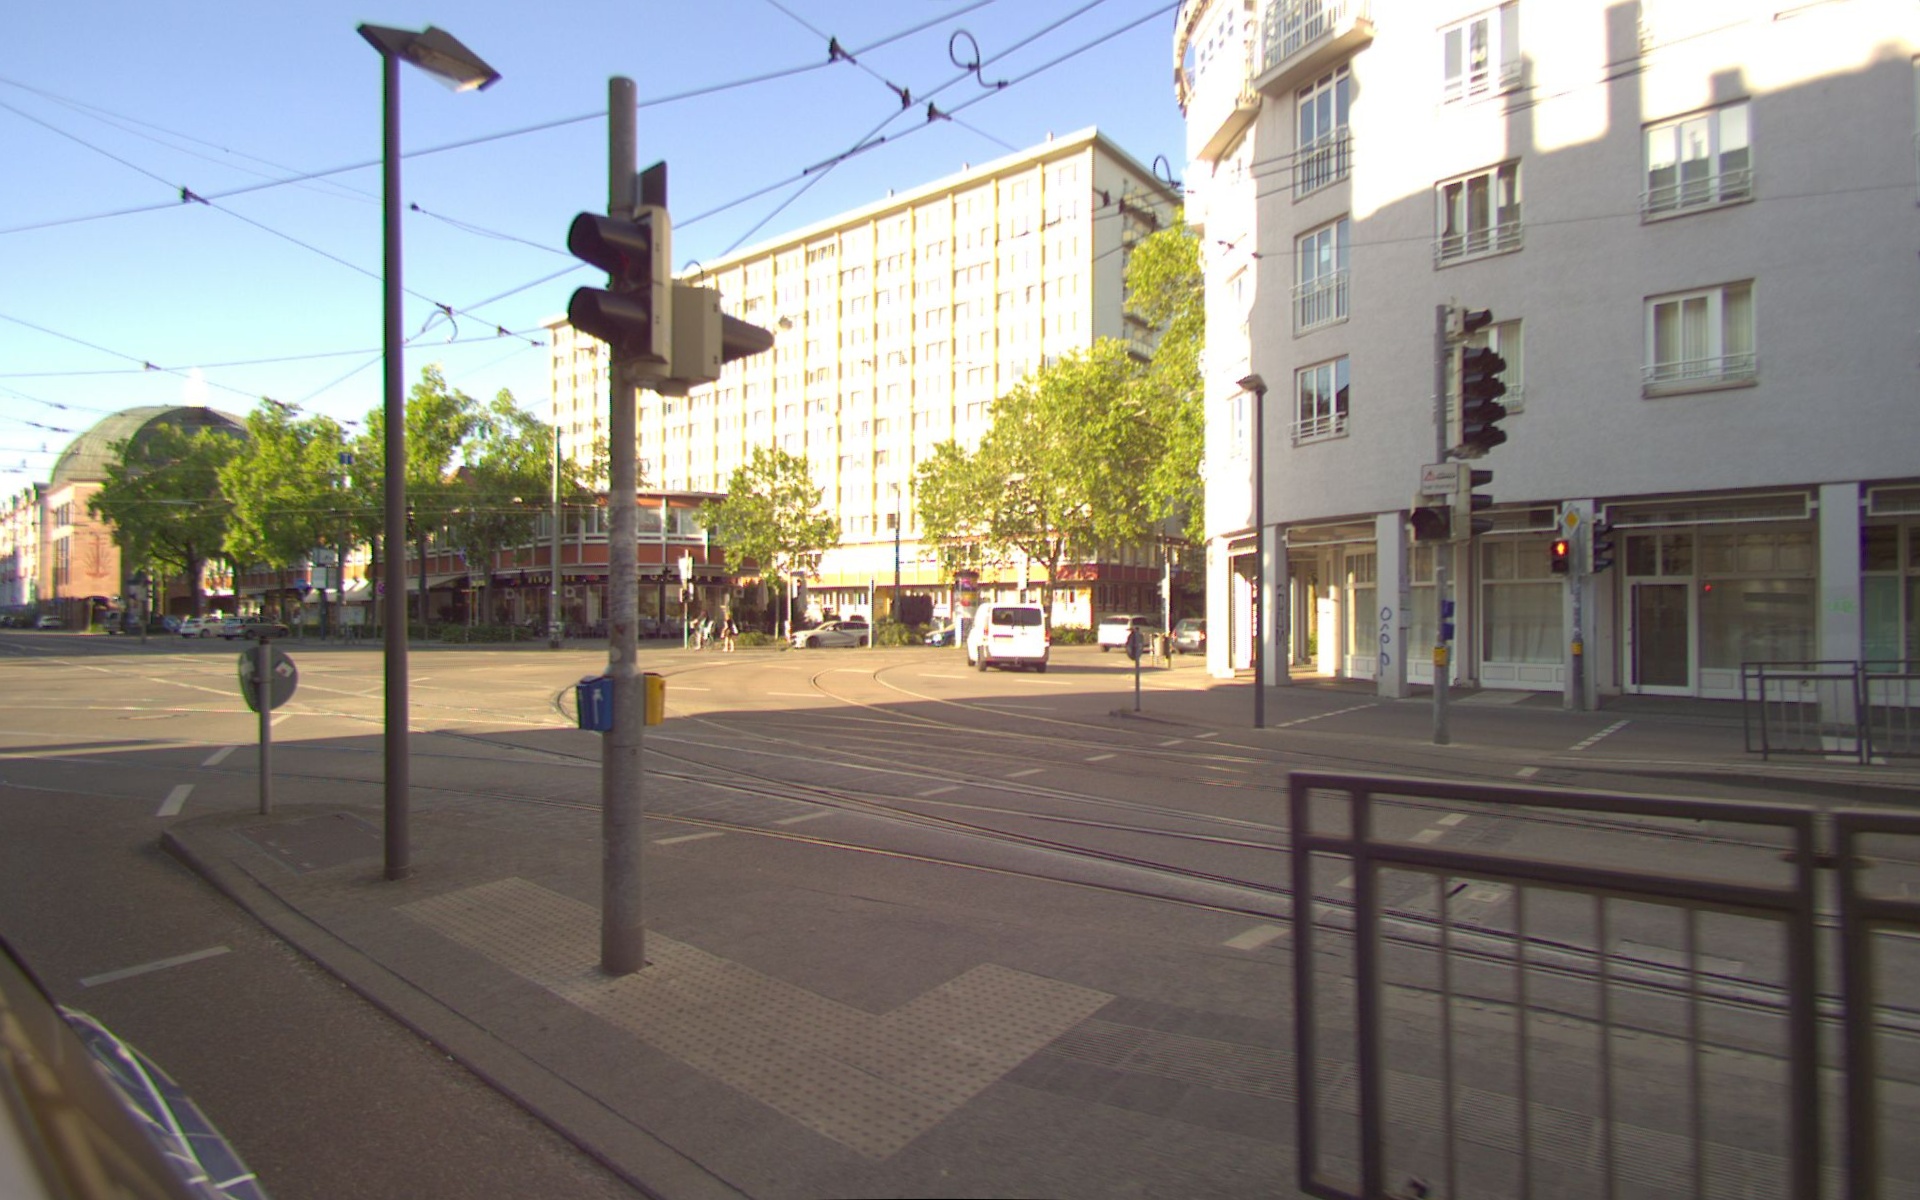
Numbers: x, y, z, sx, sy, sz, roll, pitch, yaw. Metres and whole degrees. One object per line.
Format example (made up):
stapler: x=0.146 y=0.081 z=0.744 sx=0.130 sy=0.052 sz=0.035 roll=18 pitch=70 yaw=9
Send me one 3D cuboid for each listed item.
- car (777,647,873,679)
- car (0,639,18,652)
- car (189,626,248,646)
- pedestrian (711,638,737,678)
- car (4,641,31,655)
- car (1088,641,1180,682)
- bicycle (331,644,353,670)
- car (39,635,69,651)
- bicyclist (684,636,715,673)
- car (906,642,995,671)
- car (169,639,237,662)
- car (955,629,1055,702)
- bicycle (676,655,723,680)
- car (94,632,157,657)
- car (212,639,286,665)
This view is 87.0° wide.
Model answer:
car: x=-6.759 y=3.122 z=50.764 sx=4.380 sy=1.432 sz=1.896 roll=1 pitch=-1 yaw=-32
car: x=-125.652 y=5.984 z=133.185 sx=3.996 sy=1.615 sz=1.940 roll=0 pitch=0 yaw=39
car: x=-81.015 y=3.896 z=110.606 sx=1.998 sy=2.029 sz=4.921 roll=-1 pitch=-1 yaw=39
pedestrian: x=-10.169 y=2.482 z=43.548 sx=0.857 sy=1.695 sz=0.697 roll=2 pitch=-4 yaw=-40
car: x=-120.604 y=6.121 z=129.487 sx=3.996 sy=1.615 sz=1.940 roll=0 pitch=0 yaw=39
car: x=7.827 y=2.695 z=45.276 sx=2.000 sy=1.632 sz=4.447 roll=-1 pitch=-1 yaw=43
bicycle: x=-31.091 y=2.857 z=50.911 sx=0.574 sy=1.244 sz=1.858 roll=-1 pitch=0 yaw=-43
car: x=-99.946 y=4.742 z=111.639 sx=3.996 sy=1.615 sz=1.886 roll=0 pitch=0 yaw=39
bicyclist: x=-10.660 y=2.244 z=41.469 sx=0.831 sy=1.478 sz=0.897 roll=5 pitch=-4 yaw=-44
car: x=-0.506 y=3.008 z=53.951 sx=4.380 sy=1.432 sz=1.896 roll=1 pitch=-1 yaw=-32
car: x=-56.235 y=3.745 z=75.252 sx=1.778 sy=1.486 sz=3.988 roll=0 pitch=0 yaw=10
car: x=1.163 y=1.840 z=28.792 sx=1.969 sy=1.852 sz=5.354 roll=1 pitch=-3 yaw=-7
bicycle: x=-10.705 y=2.760 z=41.469 sx=0.831 sy=0.934 sz=2.267 roll=5 pitch=-4 yaw=-43
car: x=-71.462 y=3.768 z=86.733 sx=1.888 sy=1.979 sz=3.992 roll=0 pitch=0 yaw=6
car: x=-47.959 y=3.475 z=68.349 sx=1.778 sy=1.566 sz=3.988 roll=0 pitch=0 yaw=10
